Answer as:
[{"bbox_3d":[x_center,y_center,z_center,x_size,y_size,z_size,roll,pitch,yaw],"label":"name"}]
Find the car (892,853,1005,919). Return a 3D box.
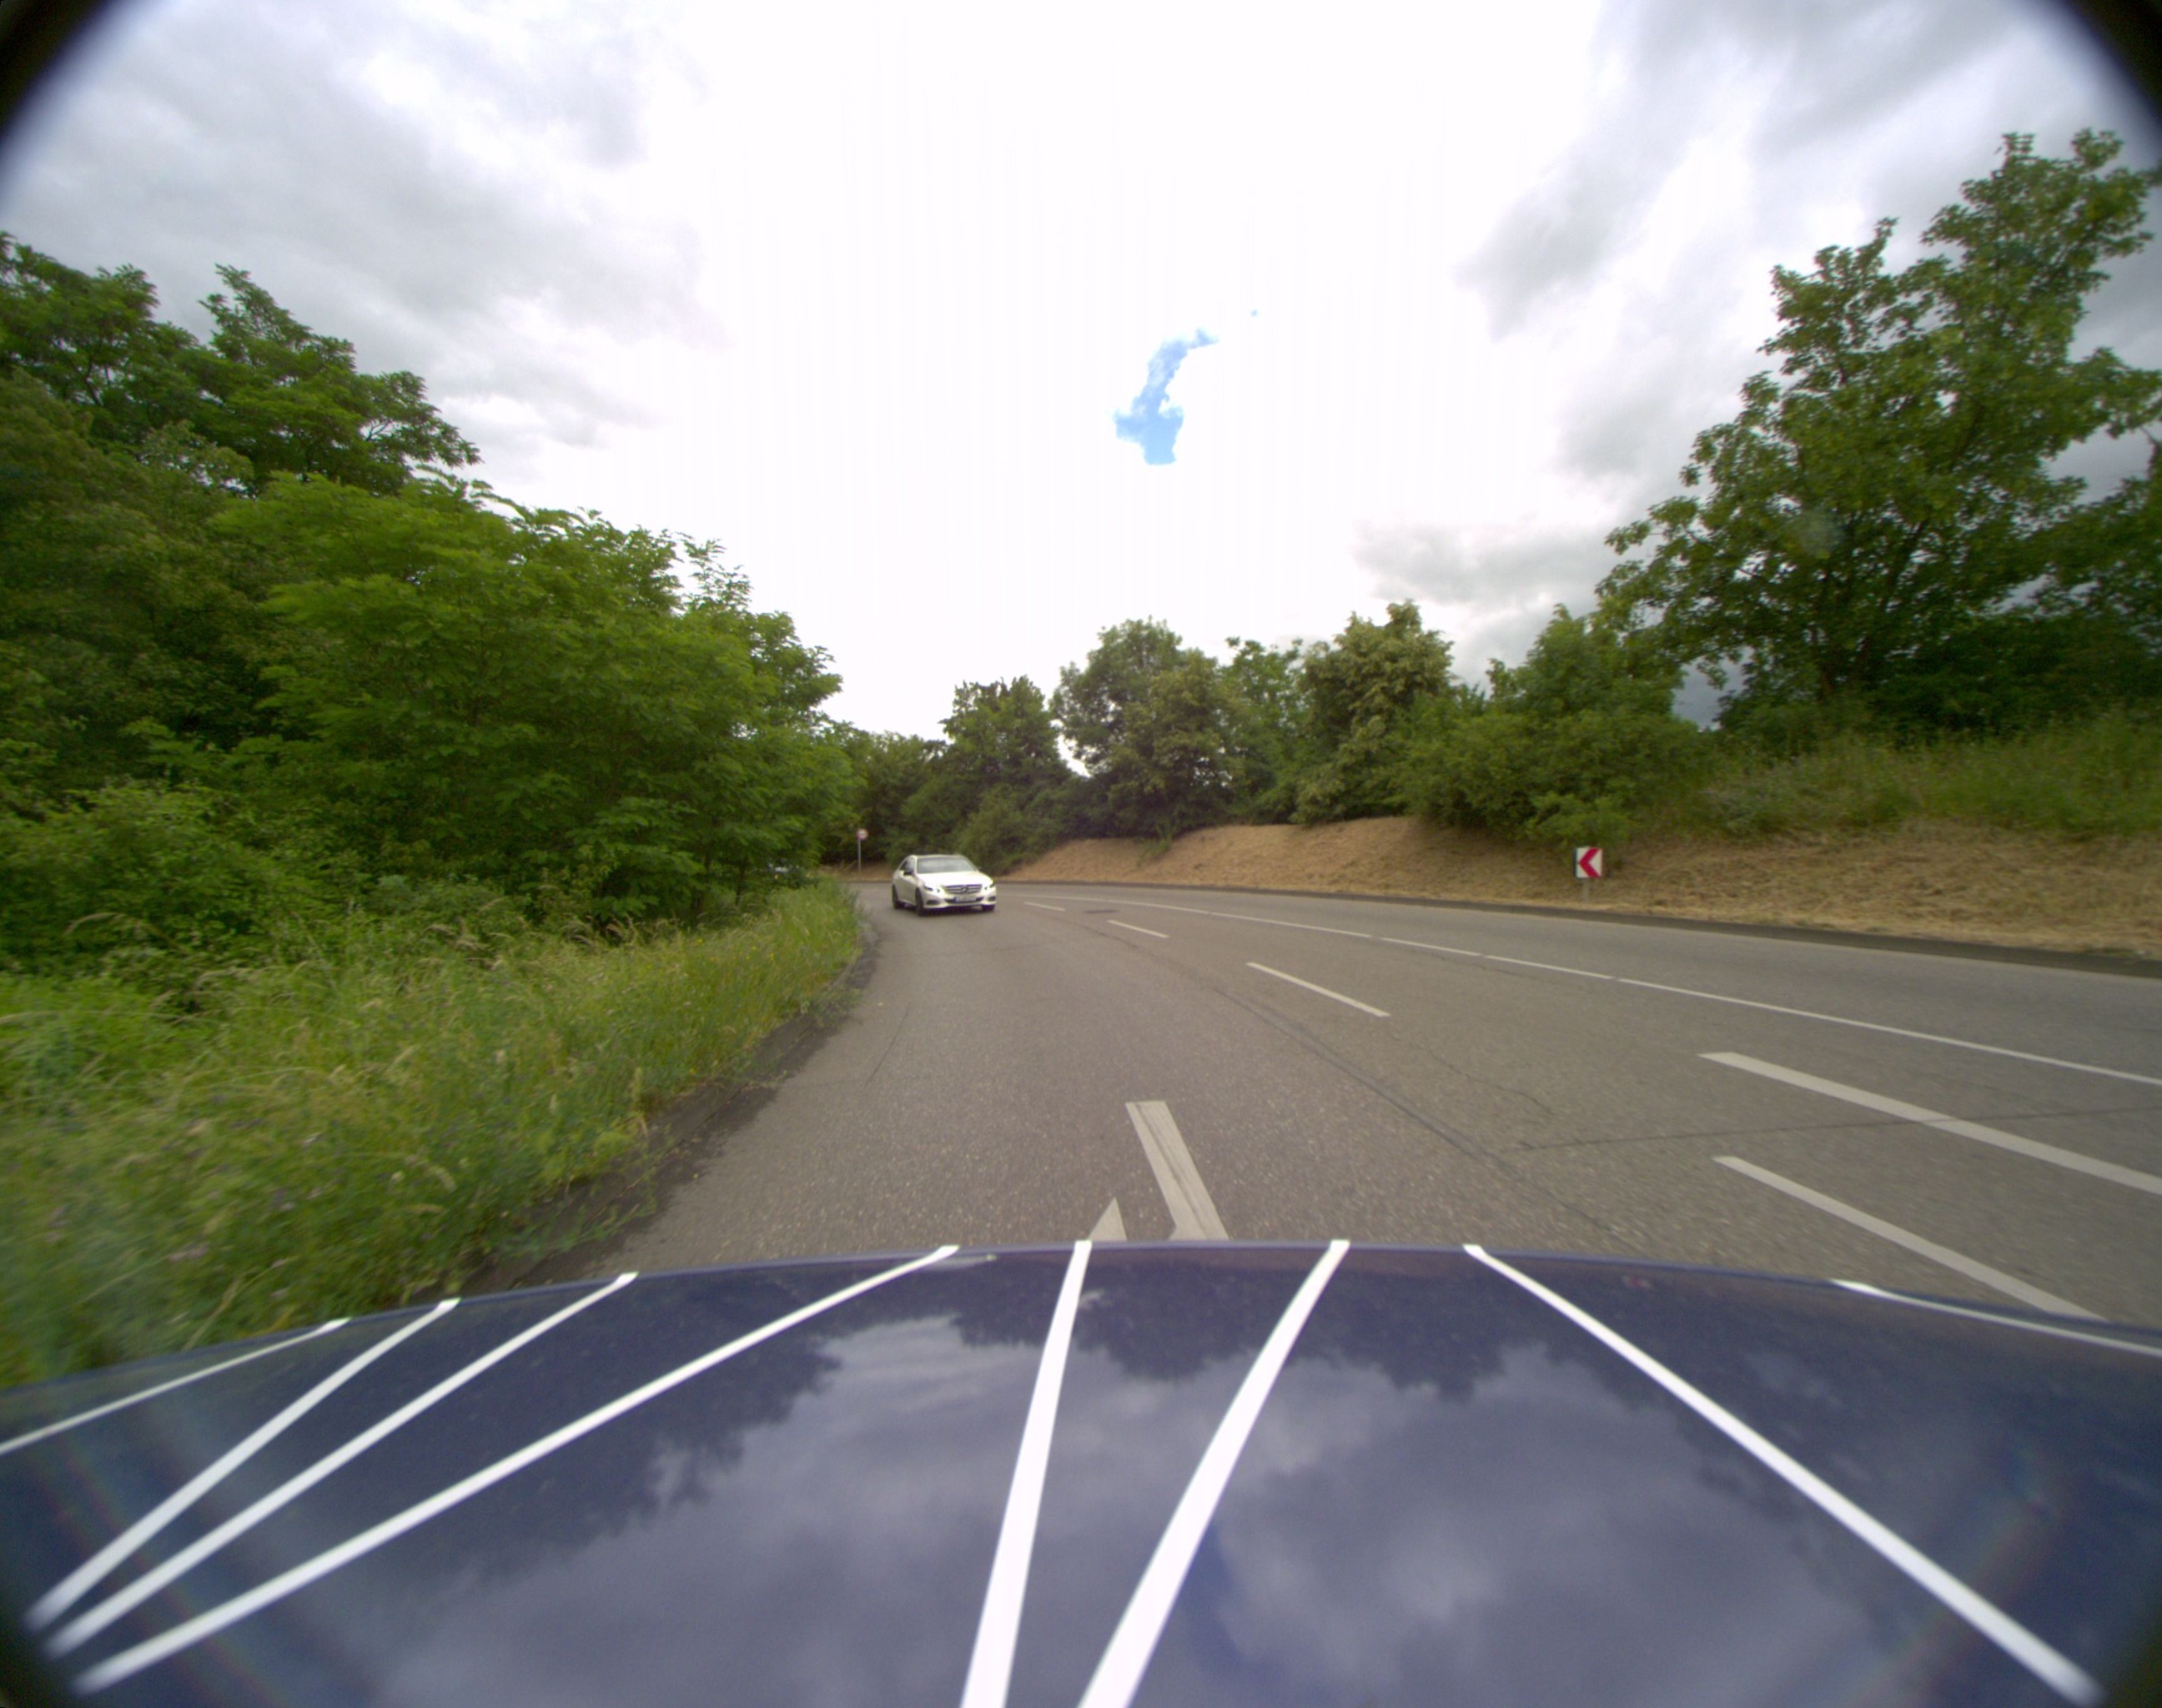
[{"bbox_3d":[-3.519,0.733,19.534,1.891,1.414,3.992,-3,2,-24],"label":"car"}]
